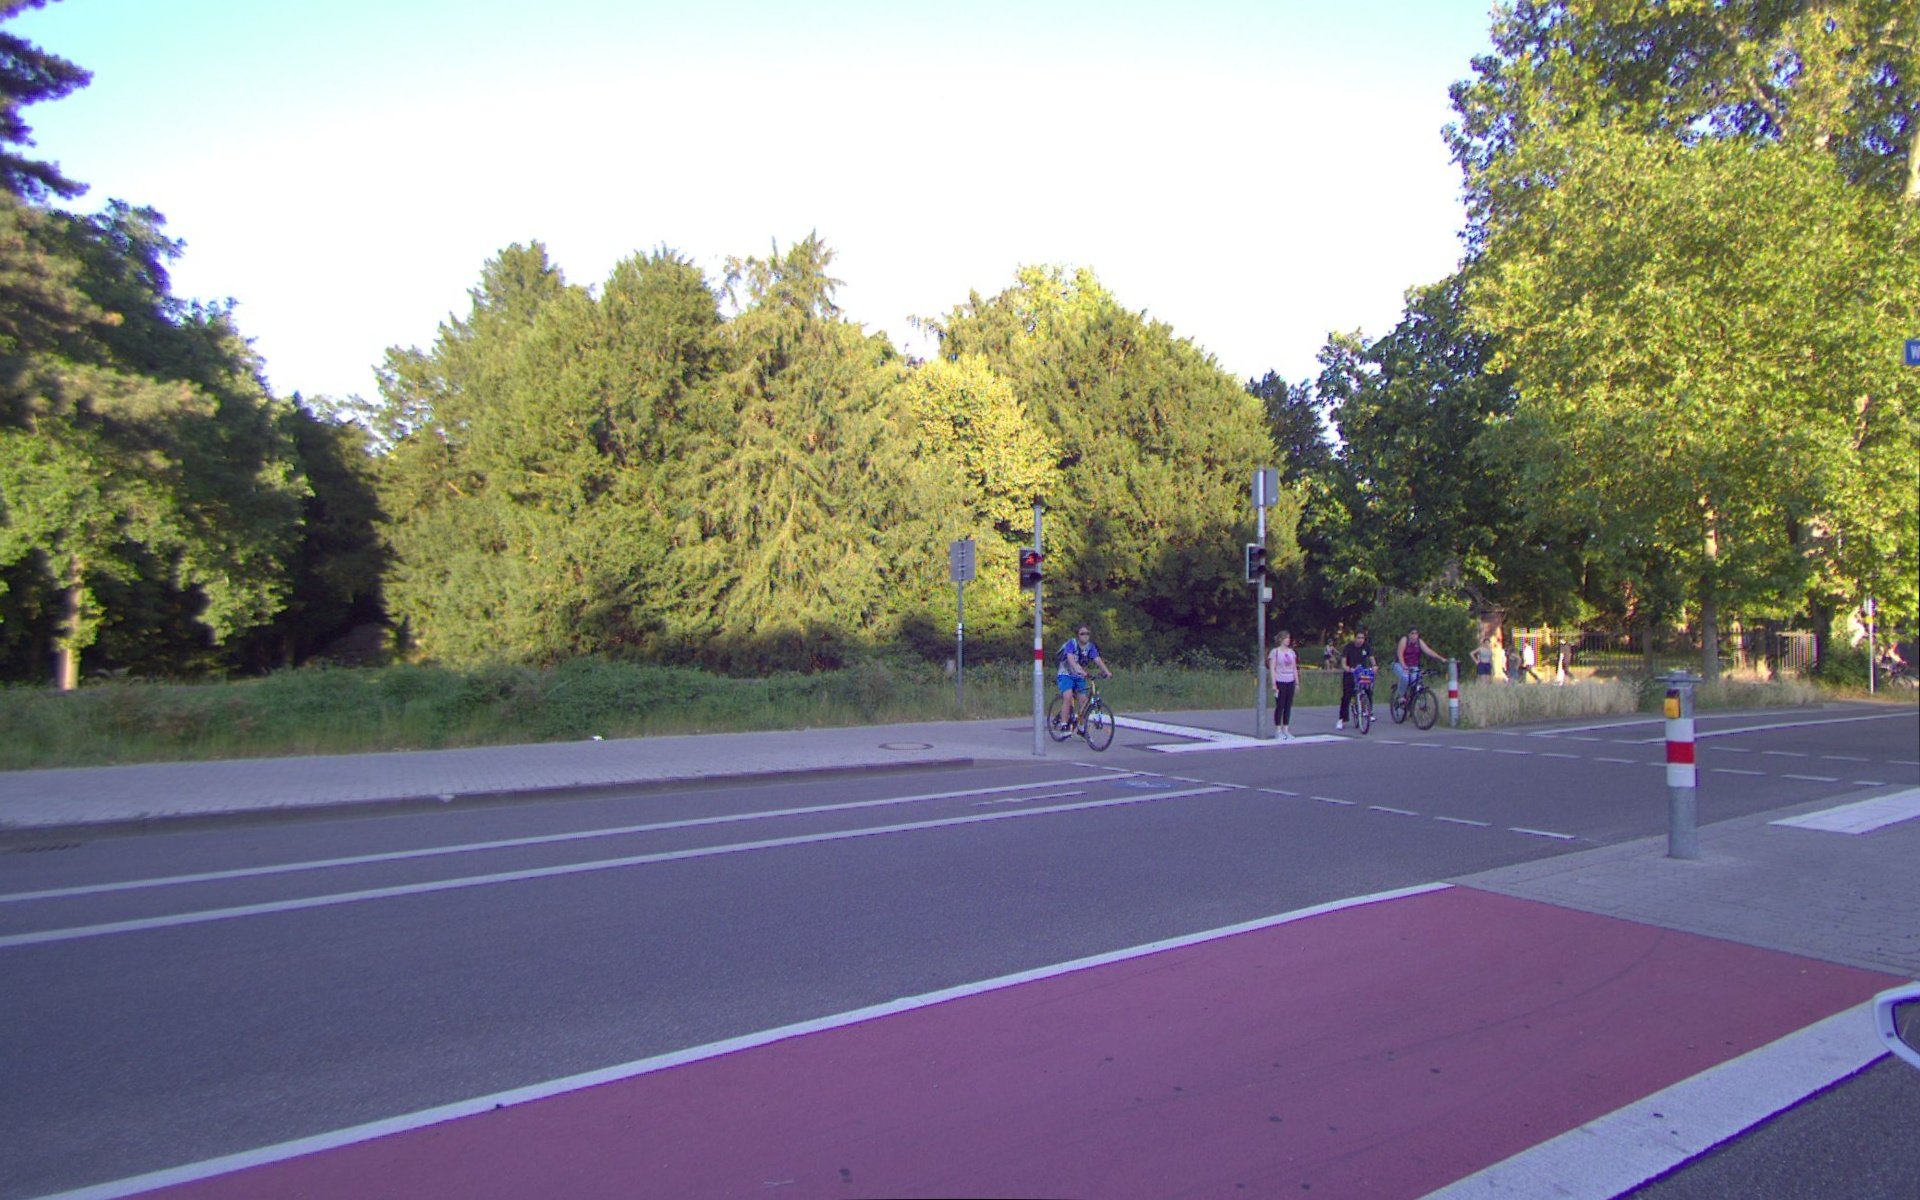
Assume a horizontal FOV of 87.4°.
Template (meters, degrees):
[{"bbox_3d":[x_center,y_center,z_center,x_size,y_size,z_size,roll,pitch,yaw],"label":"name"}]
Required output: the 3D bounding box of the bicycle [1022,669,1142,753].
[{"bbox_3d":[1.818,1.643,15.297,0.763,1.115,2.107,1,-2,-28],"label":"bicycle"}]

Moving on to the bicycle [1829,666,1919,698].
[{"bbox_3d":[29.650,2.623,32.331,0.765,0.936,2.420,1,-2,-29],"label":"bicycle"}]

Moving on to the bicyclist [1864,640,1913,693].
[{"bbox_3d":[29.738,2.123,32.180,0.743,1.652,0.954,1,-2,-29],"label":"bicyclist"}]

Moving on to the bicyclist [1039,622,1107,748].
[{"bbox_3d":[1.728,1.277,15.371,0.729,1.848,0.705,1,0,-33],"label":"bicyclist"}]

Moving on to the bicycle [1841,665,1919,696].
[{"bbox_3d":[30.995,2.666,33.405,0.765,0.936,2.420,1,-2,-29],"label":"bicycle"}]

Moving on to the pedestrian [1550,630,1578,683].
[{"bbox_3d":[23.271,2.165,38.713,0.692,2.040,0.637,1,-2,-28],"label":"pedestrian"}]

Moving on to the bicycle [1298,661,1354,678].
[{"bbox_3d":[16.310,3.089,44.818,0.665,0.700,2.283,2,-3,-43],"label":"bicycle"}]

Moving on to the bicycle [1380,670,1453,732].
[{"bbox_3d":[8.400,1.835,18.546,0.568,1.043,1.772,0,-2,1],"label":"bicycle"}]

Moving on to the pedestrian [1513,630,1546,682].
[{"bbox_3d":[22.871,2.252,40.336,0.982,2.040,0.799,1,-1,-30],"label":"pedestrian"}]

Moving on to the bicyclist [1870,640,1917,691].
[{"bbox_3d":[31.007,2.168,33.380,0.743,1.652,0.954,1,-2,-29],"label":"bicyclist"}]

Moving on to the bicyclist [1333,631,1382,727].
[{"bbox_3d":[7.062,1.387,17.867,0.618,1.671,0.640,0,-2,1],"label":"bicyclist"}]

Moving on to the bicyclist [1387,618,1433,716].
[{"bbox_3d":[8.430,1.251,18.831,0.564,1.803,0.640,0,-2,1],"label":"bicyclist"}]

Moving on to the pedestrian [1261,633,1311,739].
[{"bbox_3d":[5.392,1.405,16.620,0.492,1.718,0.604,1,-2,-28],"label":"pedestrian"}]

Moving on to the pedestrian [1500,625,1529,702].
[{"bbox_3d":[15.092,1.715,27.347,0.584,2.040,0.642,0,-1,20],"label":"pedestrian"}]

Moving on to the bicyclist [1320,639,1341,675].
[{"bbox_3d":[16.476,2.542,44.664,0.687,1.579,0.640,2,-2,-43],"label":"bicyclist"}]

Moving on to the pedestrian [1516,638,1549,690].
[{"bbox_3d":[23.038,2.557,40.439,1.066,2.040,0.756,1,-1,-34],"label":"pedestrian"}]

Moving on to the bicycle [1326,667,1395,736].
[{"bbox_3d":[7.063,1.776,17.805,0.620,1.126,1.569,0,-2,1],"label":"bicycle"}]

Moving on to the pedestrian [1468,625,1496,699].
[{"bbox_3d":[14.655,1.738,28.210,0.638,2.040,0.606,0,-1,22],"label":"pedestrian"}]

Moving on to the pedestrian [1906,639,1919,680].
[{"bbox_3d":[37.818,2.350,39.633,0.583,1.617,0.533,1,-2,-30],"label":"pedestrian"}]
